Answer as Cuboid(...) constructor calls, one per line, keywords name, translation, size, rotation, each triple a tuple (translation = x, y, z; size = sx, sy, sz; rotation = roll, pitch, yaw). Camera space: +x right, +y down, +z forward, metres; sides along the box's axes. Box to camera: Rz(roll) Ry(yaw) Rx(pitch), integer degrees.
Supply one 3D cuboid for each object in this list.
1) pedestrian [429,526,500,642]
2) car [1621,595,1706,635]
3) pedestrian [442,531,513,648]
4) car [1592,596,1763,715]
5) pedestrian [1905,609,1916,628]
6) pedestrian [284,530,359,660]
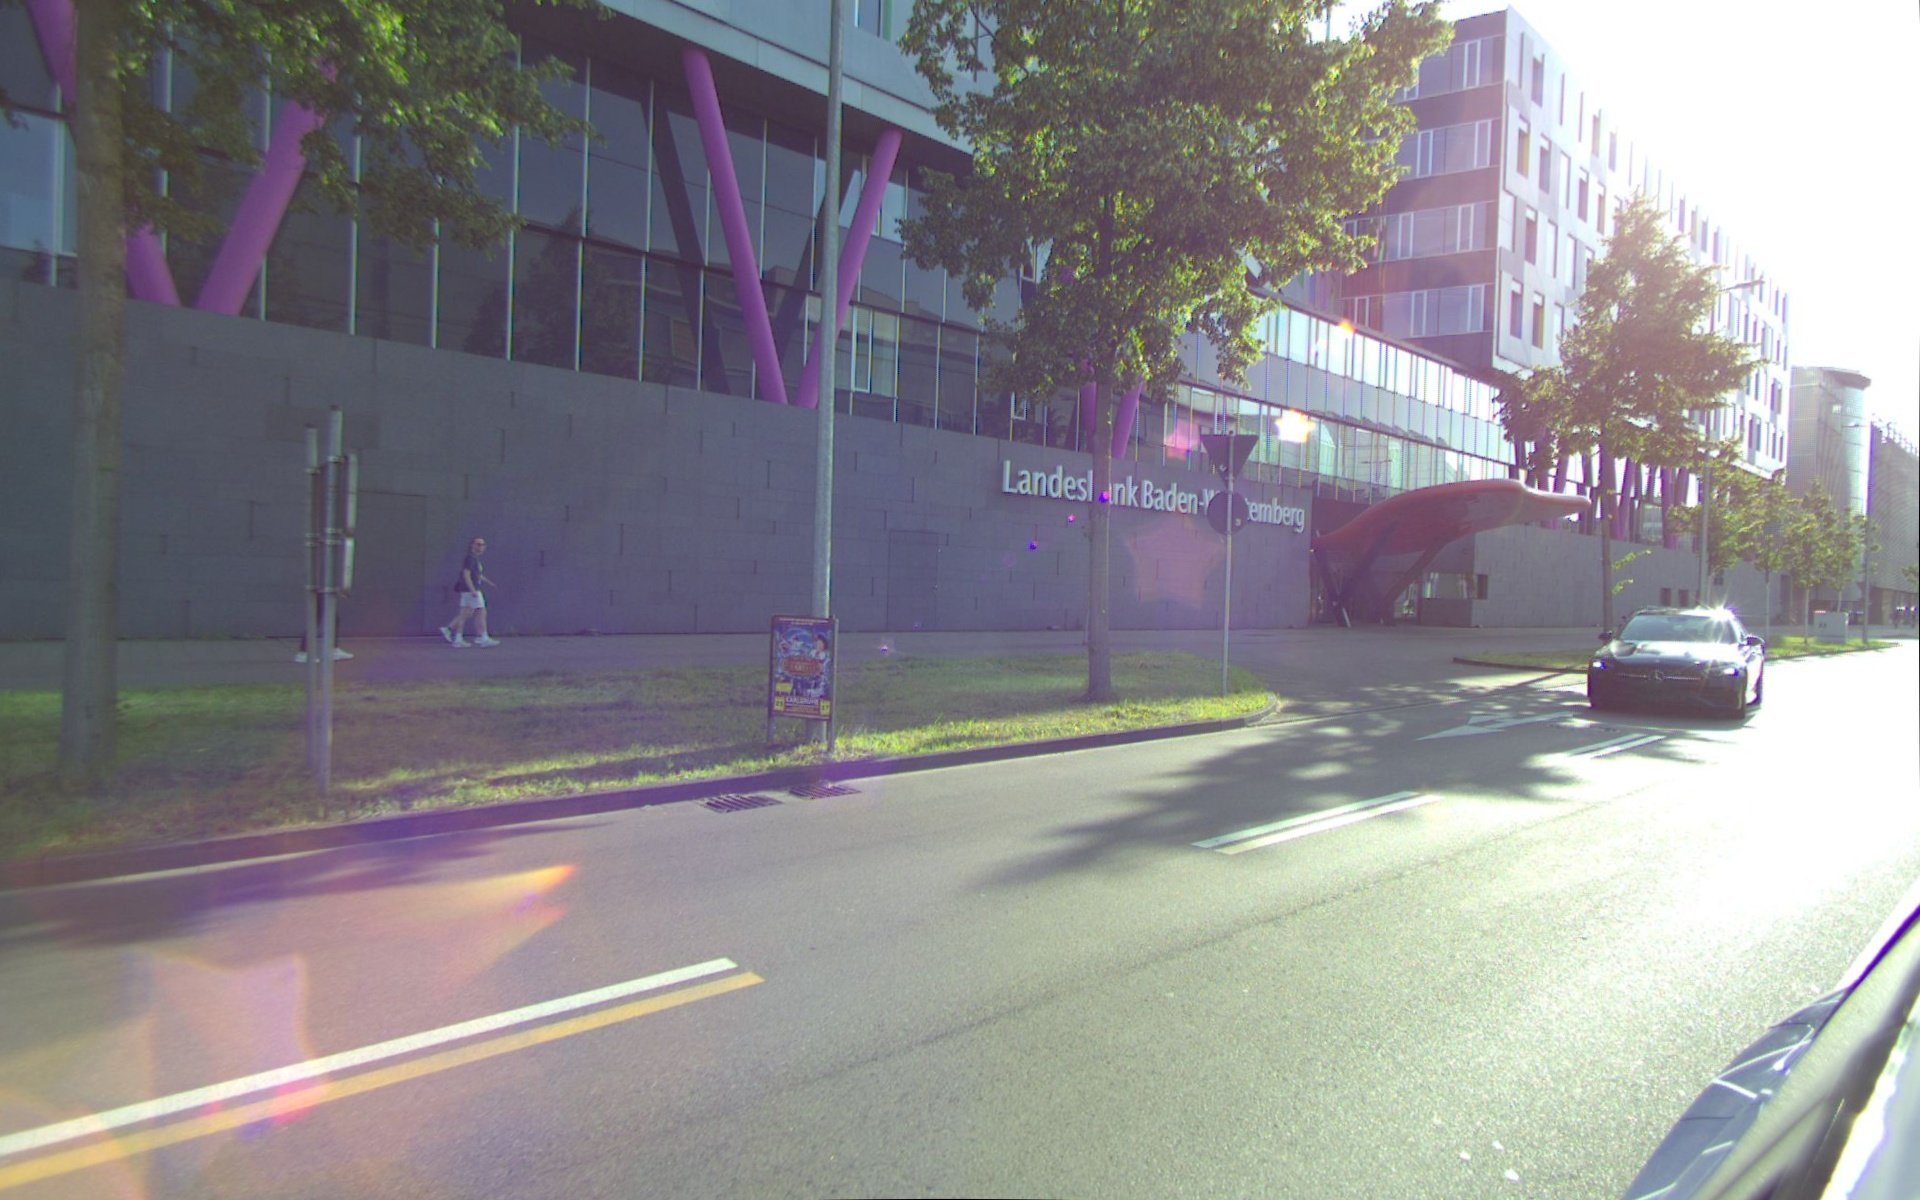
Cuboid(name="pedestrian", translation=(-8.199, -0.274, 16.742), size=(0.838, 1.847, 0.769), rotation=(1, 3, -41))
Cuboid(name="car", translation=(26.561, 0.570, 38.163), size=(4.126, 1.407, 1.694), rotation=(1, 1, -42))
Cuboid(name="pedestrian", translation=(-7.772, -0.178, 16.296), size=(0.829, 1.815, 0.756), rotation=(1, 3, -41))
Cuboid(name="car", translation=(10.831, 0.732, 15.215), size=(1.835, 1.468, 4.493), rotation=(1, 0, 37))
Cuboid(name="pedestrian", translation=(94.073, 1.850, 100.172), size=(0.758, 1.808, 0.725), rotation=(1, 1, -41))
Cuboid(name="pedestrian", translation=(-8.491, -0.079, 13.462), size=(0.724, 1.659, 0.695), rotation=(1, 2, -41))
